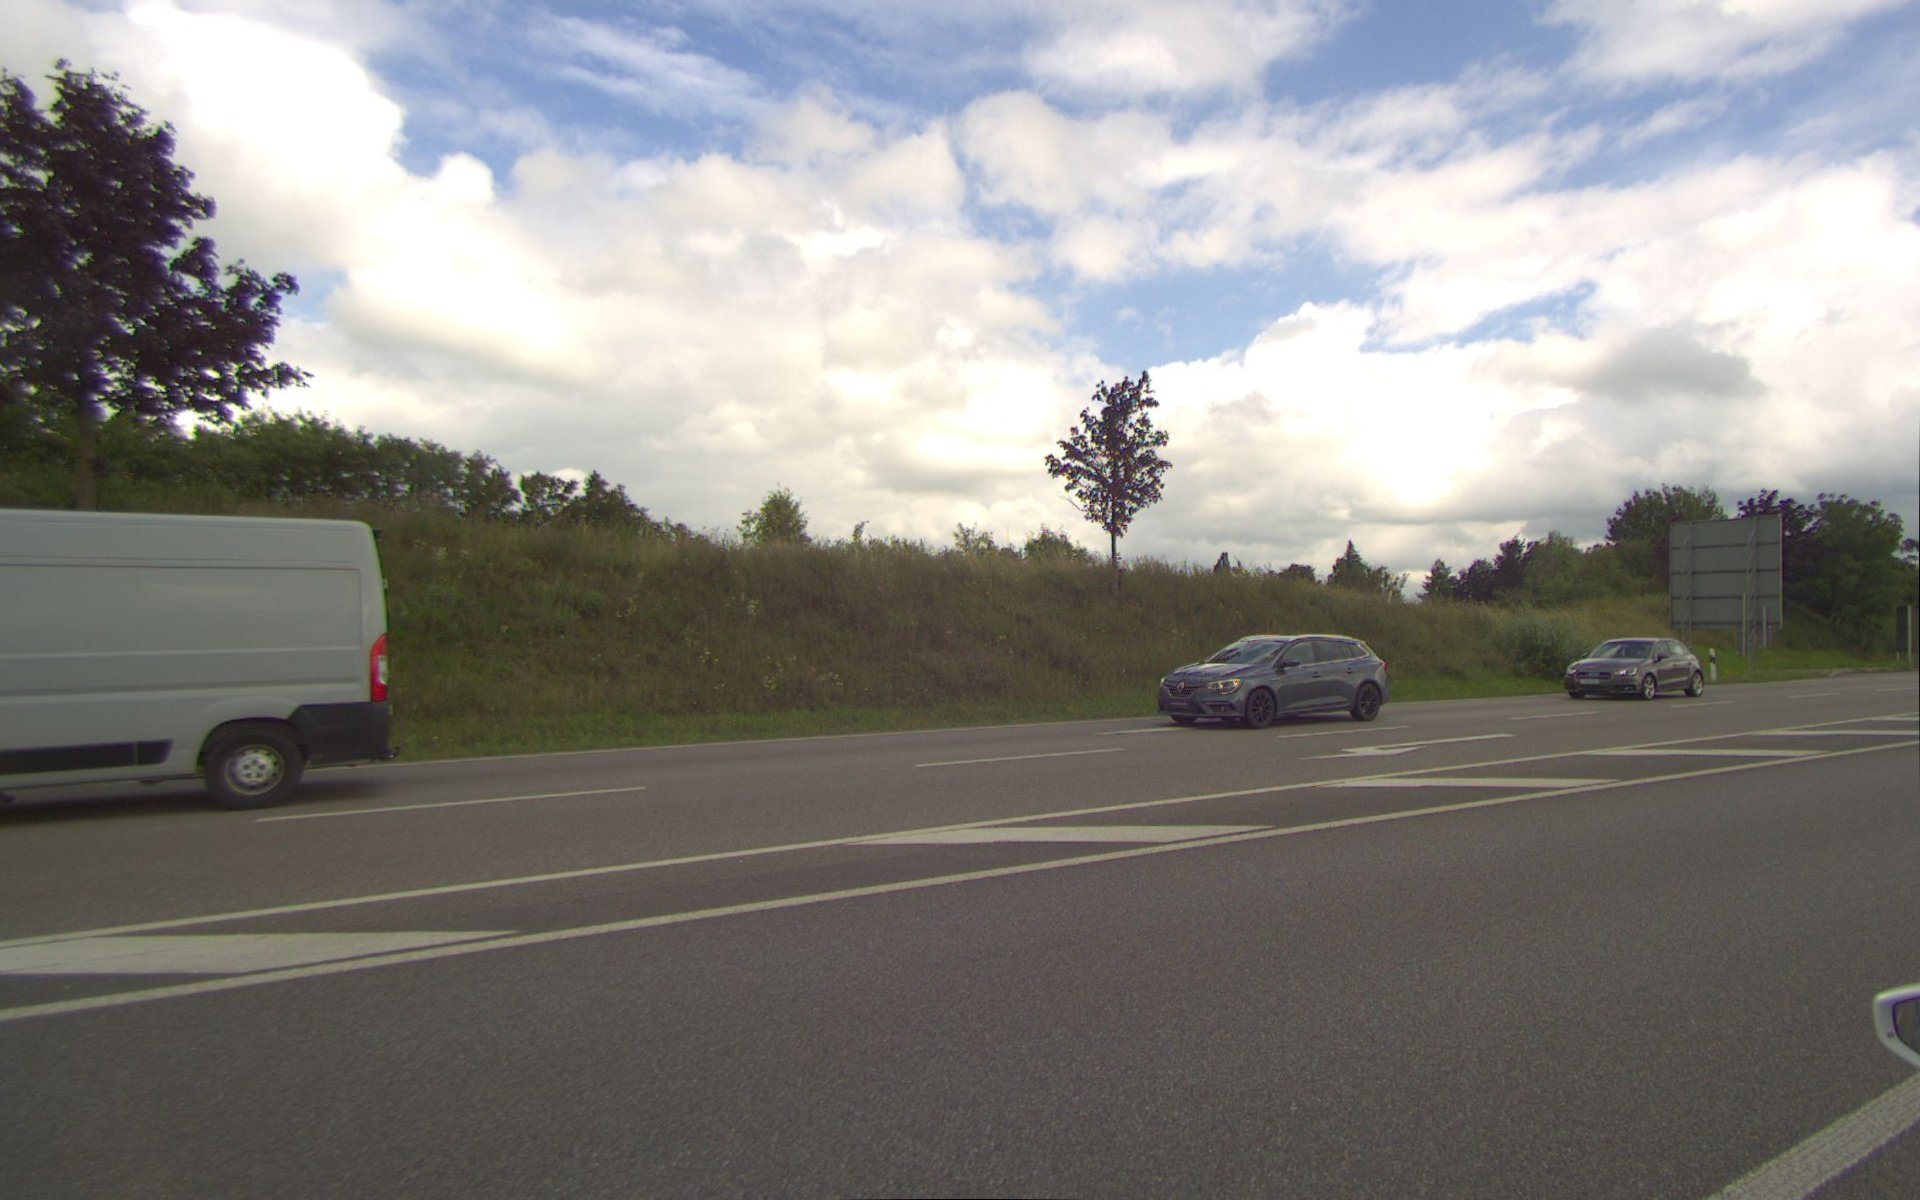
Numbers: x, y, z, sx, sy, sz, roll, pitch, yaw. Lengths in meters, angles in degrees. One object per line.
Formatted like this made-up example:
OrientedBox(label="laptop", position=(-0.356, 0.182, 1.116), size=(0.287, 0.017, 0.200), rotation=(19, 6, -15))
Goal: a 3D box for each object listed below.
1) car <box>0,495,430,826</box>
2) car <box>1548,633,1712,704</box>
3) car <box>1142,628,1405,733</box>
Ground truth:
OrientedBox(label="car", position=(-7.647, 0.490, 8.389), size=(5.573, 2.471, 2.022), rotation=(1, -3, -32))
OrientedBox(label="car", position=(15.967, 1.567, 23.895), size=(4.148, 1.550, 1.723), rotation=(1, -2, -32))
OrientedBox(label="car", position=(5.323, 1.259, 16.872), size=(4.498, 1.550, 1.723), rotation=(1, -2, -32))
